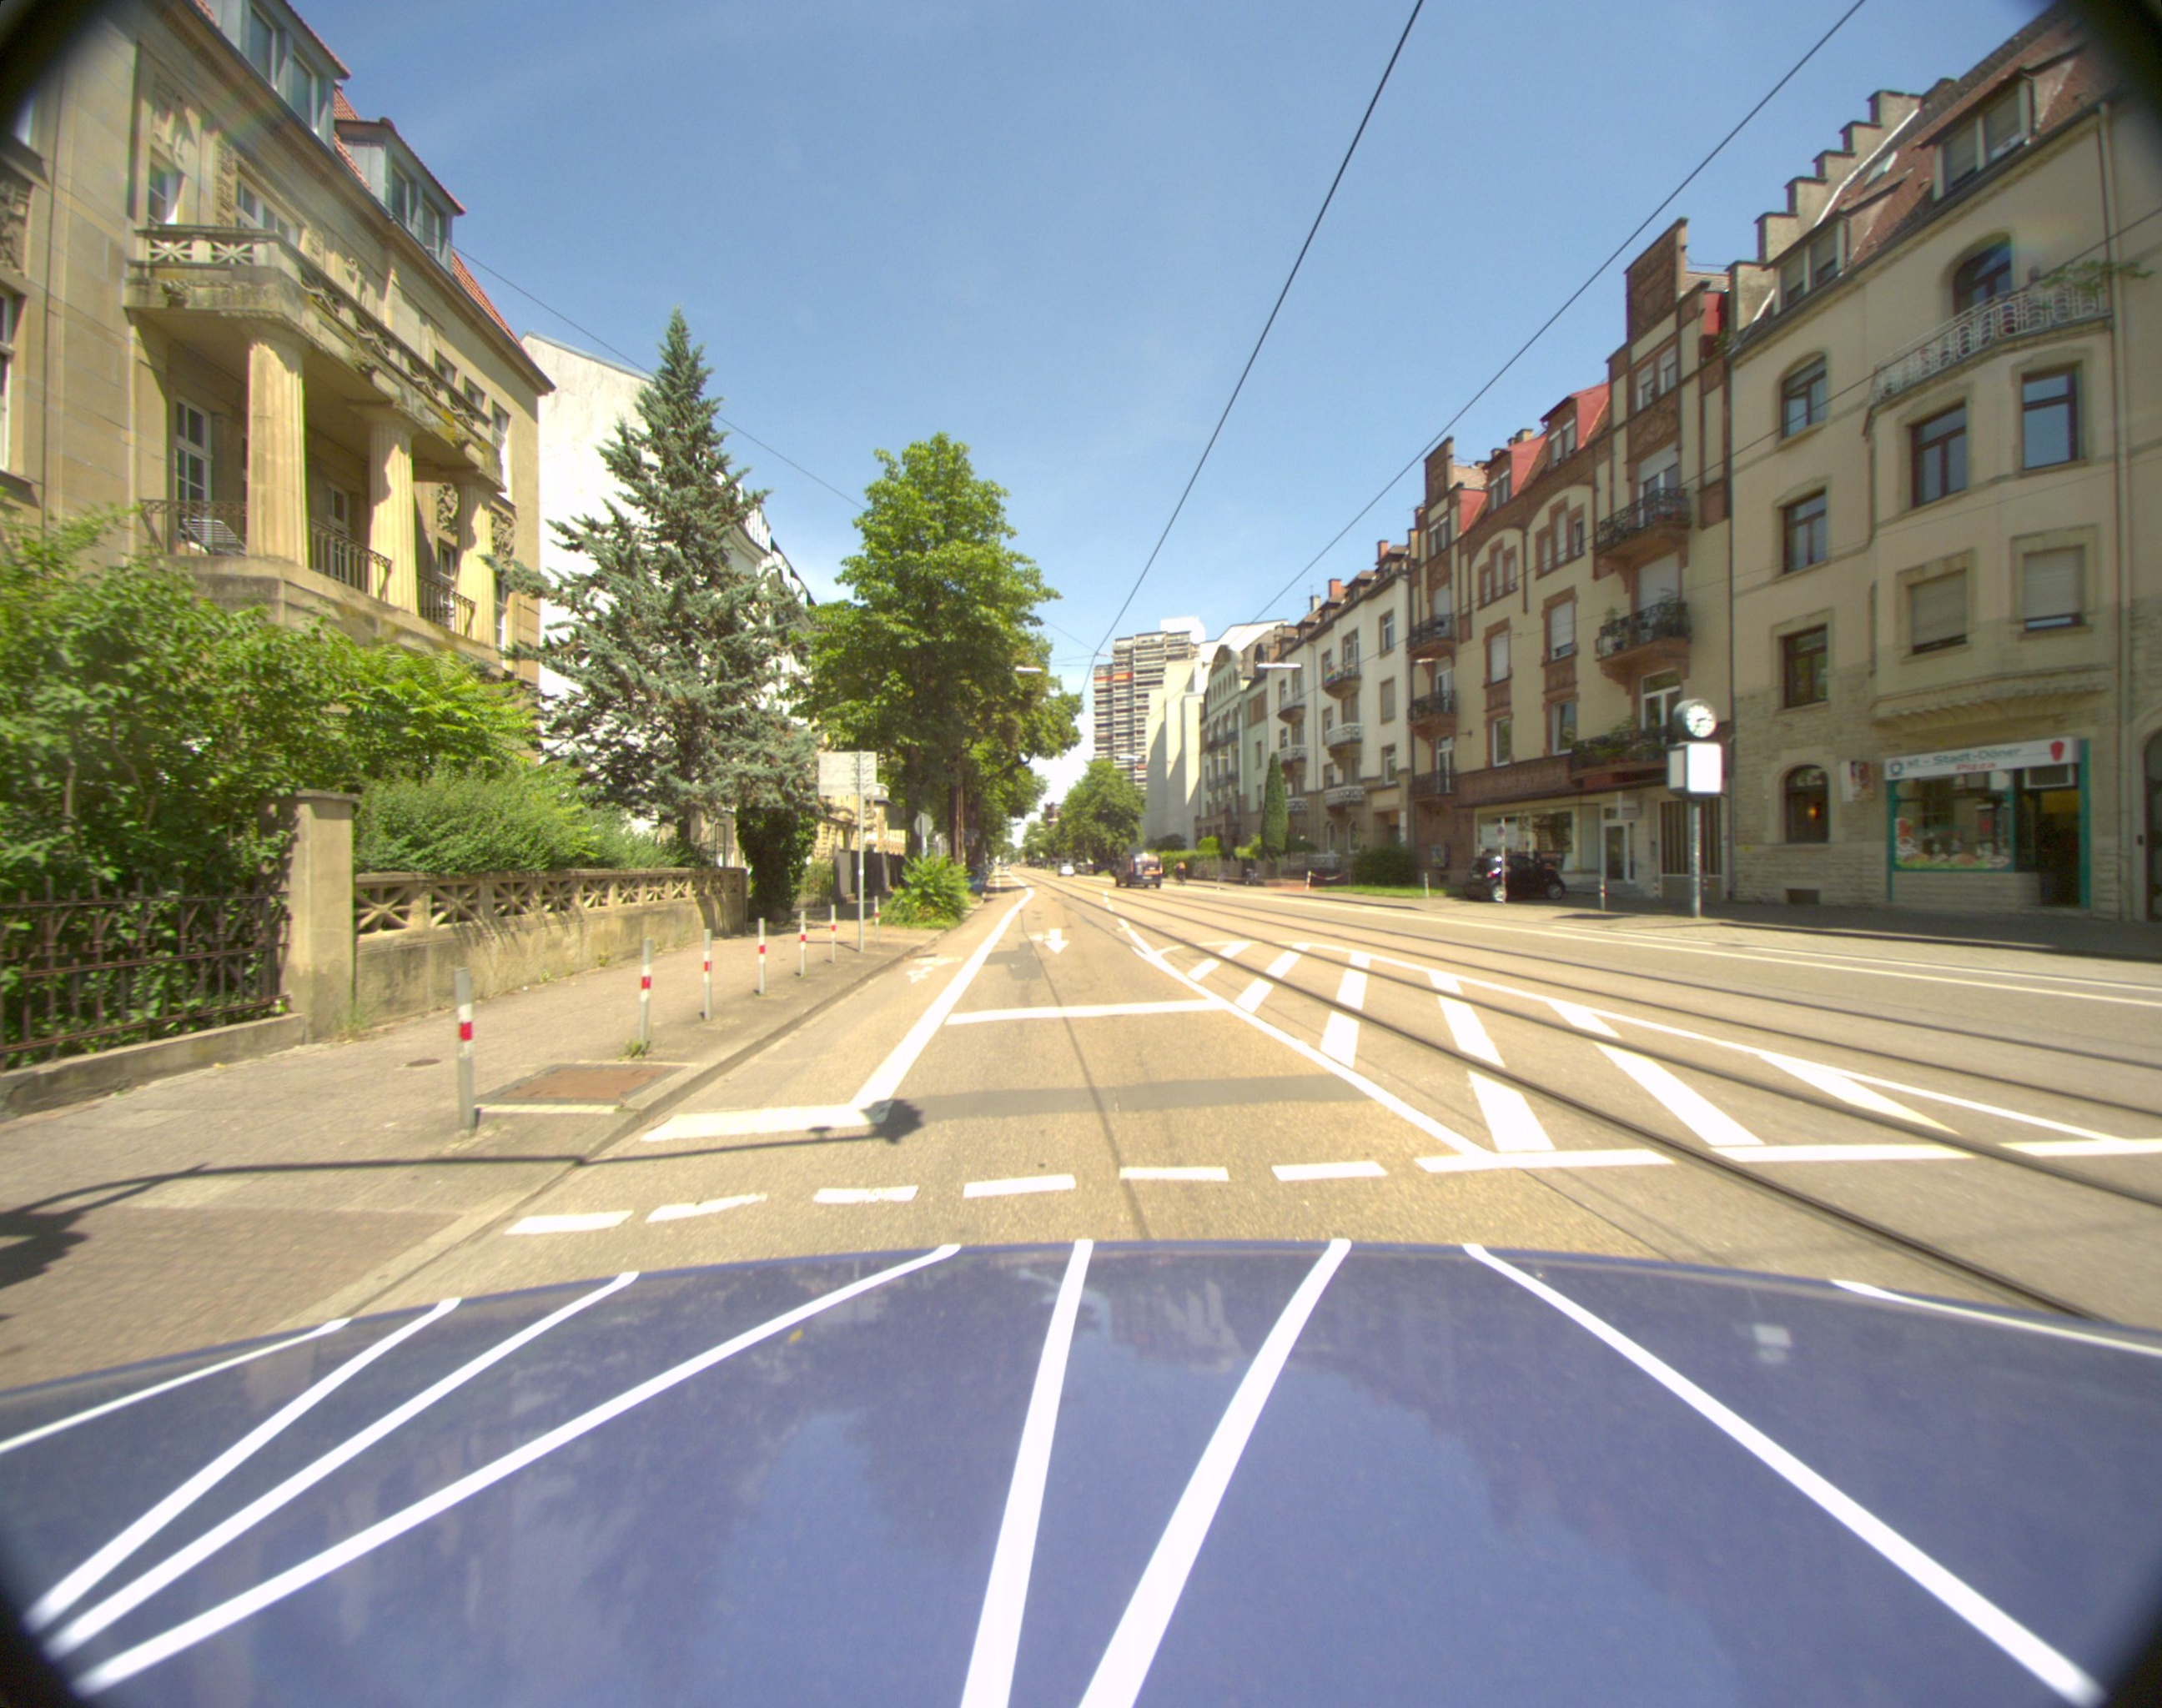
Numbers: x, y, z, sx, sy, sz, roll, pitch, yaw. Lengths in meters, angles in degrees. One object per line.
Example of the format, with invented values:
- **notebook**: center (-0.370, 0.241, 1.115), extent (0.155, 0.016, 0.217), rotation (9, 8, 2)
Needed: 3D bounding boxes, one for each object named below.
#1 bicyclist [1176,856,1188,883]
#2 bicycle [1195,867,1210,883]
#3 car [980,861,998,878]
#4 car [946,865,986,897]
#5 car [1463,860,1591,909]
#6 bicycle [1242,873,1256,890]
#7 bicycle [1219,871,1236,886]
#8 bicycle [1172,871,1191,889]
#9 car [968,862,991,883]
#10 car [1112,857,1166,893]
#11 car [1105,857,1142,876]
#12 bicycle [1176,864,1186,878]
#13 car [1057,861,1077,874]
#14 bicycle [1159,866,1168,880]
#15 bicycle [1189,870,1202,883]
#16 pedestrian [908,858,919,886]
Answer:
- **bicyclist**: center (6.294, 0.952, 47.471), extent (0.612, 1.653, 0.579), rotation (0, 0, -7)
- **bicycle**: center (8.465, 1.465, 53.104), extent (0.494, 1.090, 2.046), rotation (-1, 0, -7)
- **car**: center (-8.941, 1.557, 73.788), extent (1.648, 1.587, 4.113), rotation (1, -2, -7)
- **car**: center (-5.633, 1.295, 37.559), extent (1.688, 1.453, 3.998), rotation (1, 0, -6)
- **car**: center (14.837, 0.991, 25.357), extent (3.363, 1.463, 1.529), rotation (-2, 0, -3)
- **bicycle**: center (9.581, 1.544, 43.424), extent (0.253, 0.911, 1.613), rotation (-1, 0, -7)
- **bicycle**: center (9.153, 1.526, 47.542), extent (0.463, 0.943, 1.953), rotation (-1, 0, -7)
- **bicycle**: center (6.279, 1.594, 47.622), extent (0.646, 1.068, 2.185), rotation (0, -1, -7)
- **car**: center (-7.649, 1.383, 57.361), extent (1.615, 1.488, 3.580), rotation (1, 0, -7)
- **car**: center (3.302, 1.156, 44.183), extent (1.850, 1.926, 4.817), rotation (1, 0, -12)
- **car**: center (4.638, 1.310, 82.647), extent (1.908, 1.958, 3.916), rotation (-1, 0, 44)
- **bicycle**: center (8.000, 1.361, 60.680), extent (0.290, 1.040, 1.898), rotation (-1, 0, -7)
- **car**: center (-1.621, 1.505, 86.705), extent (1.713, 1.404, 3.822), rotation (1, 0, -8)
- **bicycle**: center (7.140, 1.598, 65.868), extent (0.340, 1.157, 1.932), rotation (-1, 0, -7)
- **bicycle**: center (8.292, 1.627, 55.224), extent (0.400, 0.964, 2.046), rotation (-1, 0, -7)
- **pedestrian**: center (-10.122, 1.069, 45.876), extent (0.548, 1.683, 0.755), rotation (0, 0, -7)
